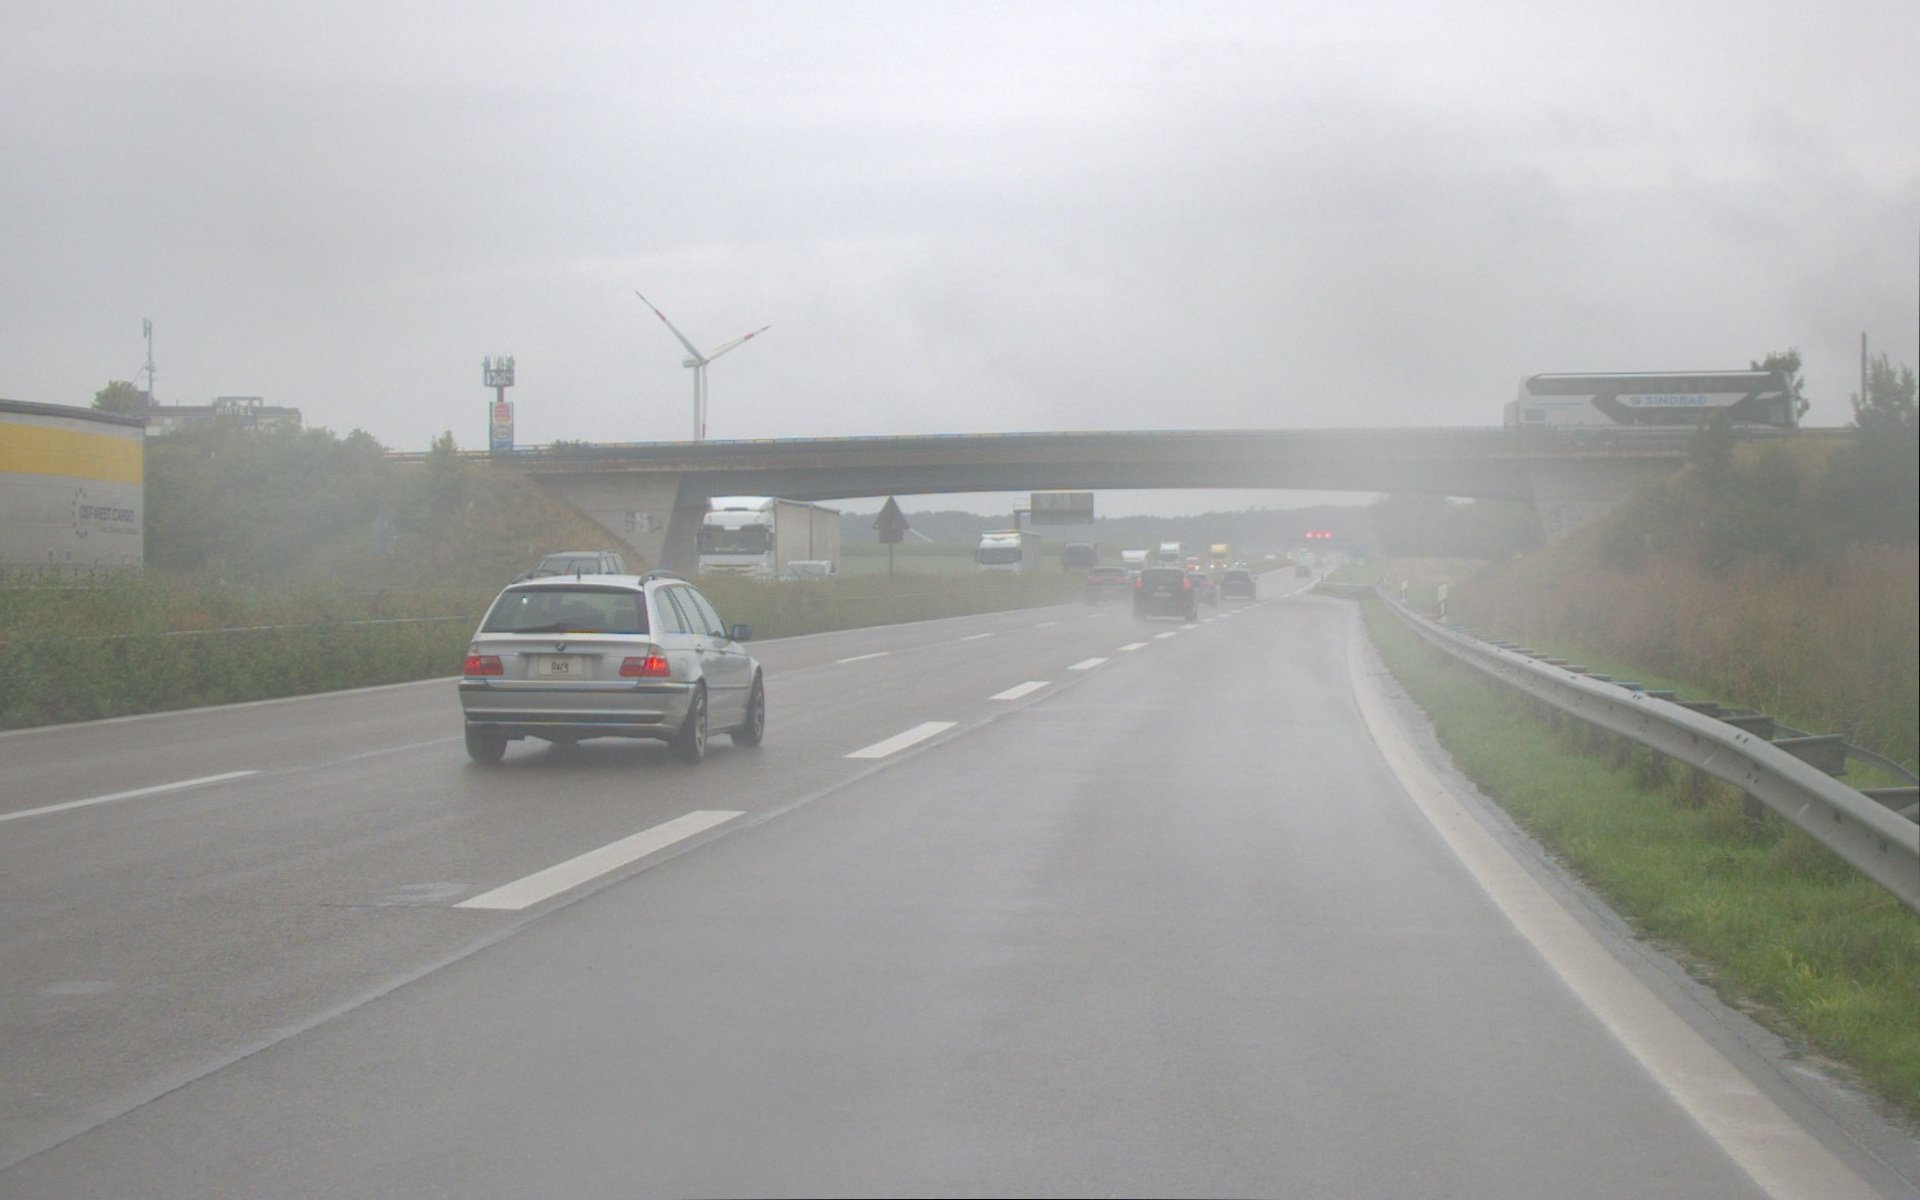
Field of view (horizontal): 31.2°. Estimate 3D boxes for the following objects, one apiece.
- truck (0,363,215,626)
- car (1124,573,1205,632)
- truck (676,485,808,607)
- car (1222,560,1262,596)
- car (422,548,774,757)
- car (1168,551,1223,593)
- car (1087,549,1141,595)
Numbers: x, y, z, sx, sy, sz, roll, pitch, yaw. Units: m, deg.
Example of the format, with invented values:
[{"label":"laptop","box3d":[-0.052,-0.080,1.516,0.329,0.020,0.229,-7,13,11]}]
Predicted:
[{"label":"truck","box3d":[-15.824,-1.670,54.223,3.195,3.953,15.315,3,1,6]},{"label":"car","box3d":[6.051,0.082,101.322,2.146,1.630,4.594,1,0,6]},{"label":"truck","box3d":[-8.040,-1.973,128.348,3.229,4.370,10.512,0,0,6]},{"label":"car","box3d":[14.829,-1.152,180.520,1.994,1.691,4.000,-2,2,6]},{"label":"car","box3d":[-2.712,0.362,26.905,1.874,1.483,4.795,0,0,5]},{"label":"car","box3d":[9.547,-1.120,139.347,2.053,1.630,4.348,1,0,6]},{"label":"car","box3d":[6.453,-1.182,143.718,1.994,1.743,4.000,-2,2,6]}]
